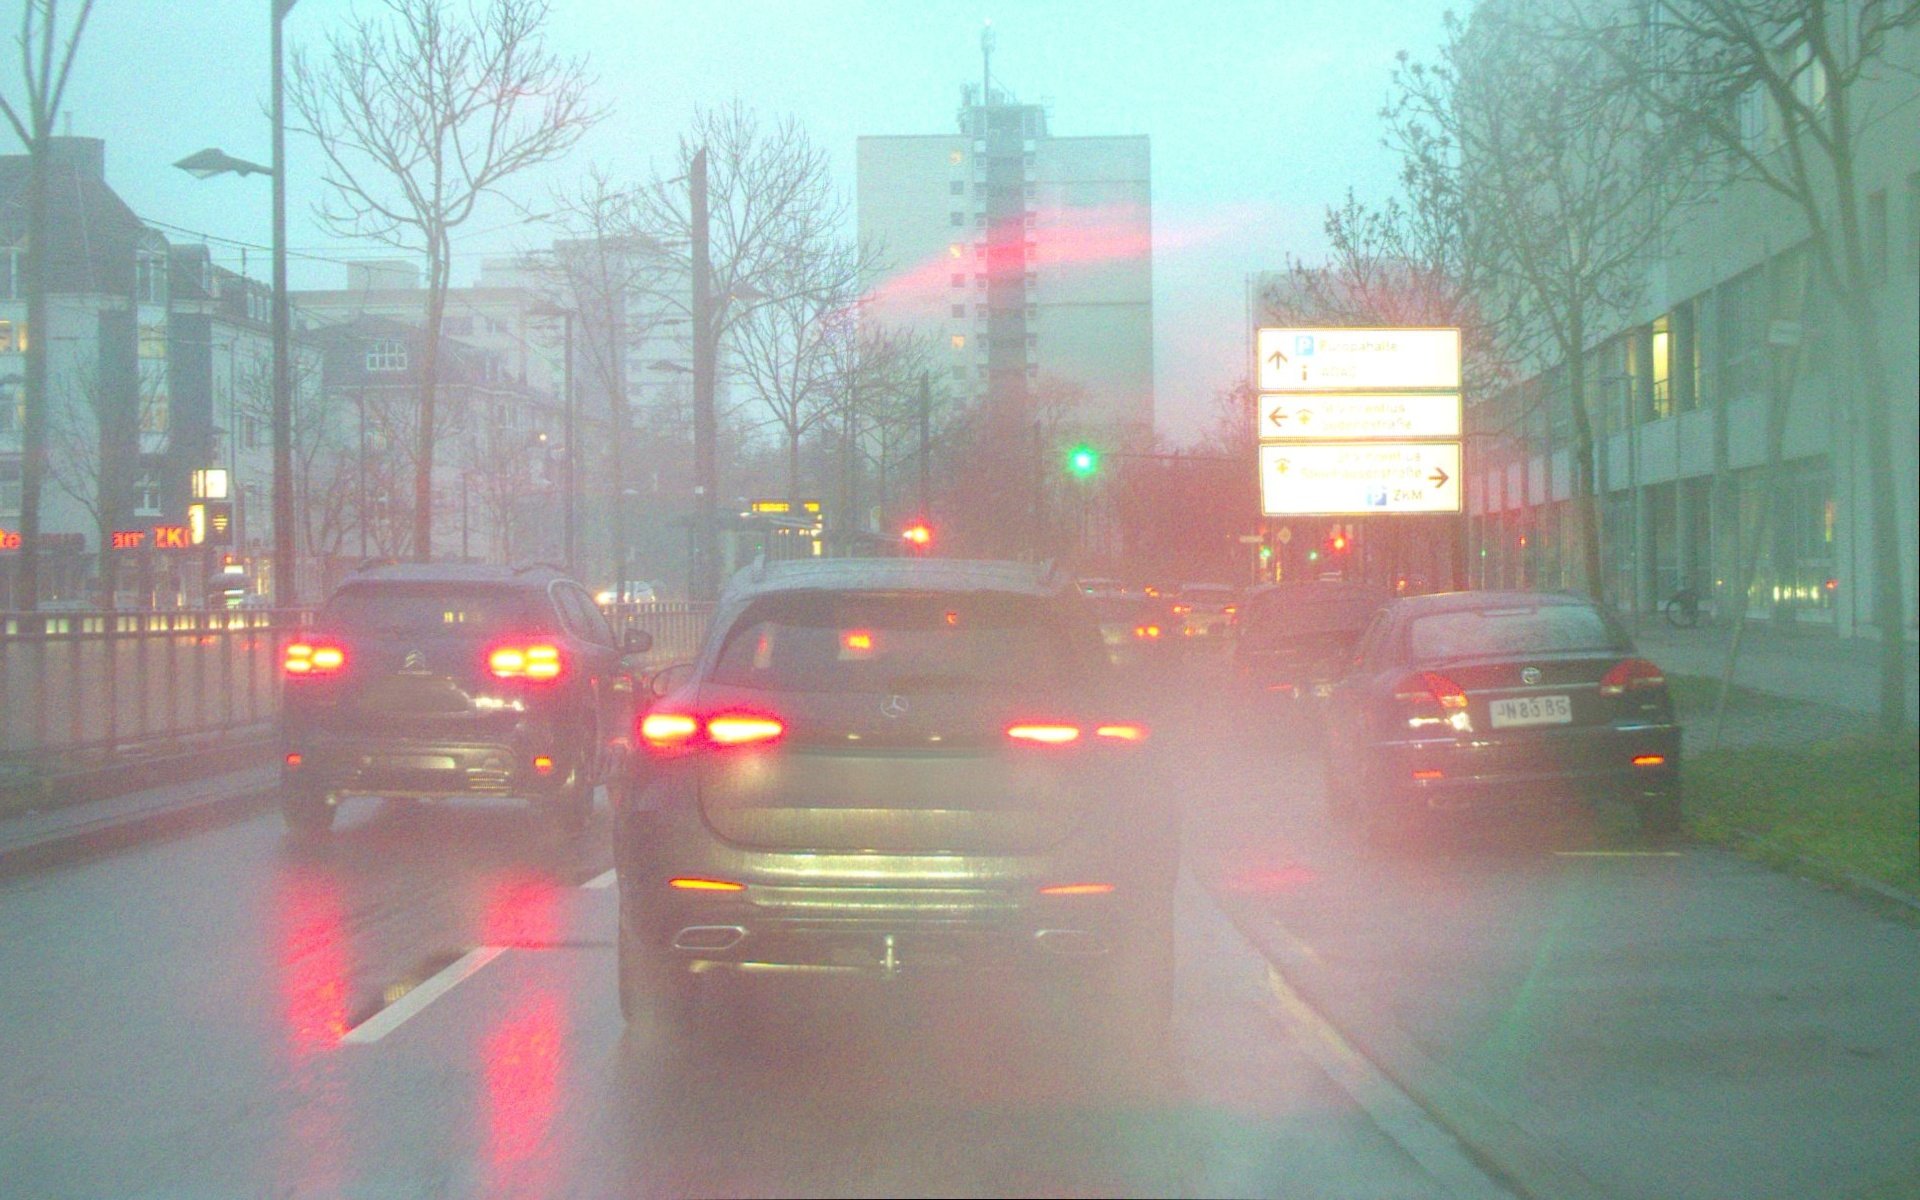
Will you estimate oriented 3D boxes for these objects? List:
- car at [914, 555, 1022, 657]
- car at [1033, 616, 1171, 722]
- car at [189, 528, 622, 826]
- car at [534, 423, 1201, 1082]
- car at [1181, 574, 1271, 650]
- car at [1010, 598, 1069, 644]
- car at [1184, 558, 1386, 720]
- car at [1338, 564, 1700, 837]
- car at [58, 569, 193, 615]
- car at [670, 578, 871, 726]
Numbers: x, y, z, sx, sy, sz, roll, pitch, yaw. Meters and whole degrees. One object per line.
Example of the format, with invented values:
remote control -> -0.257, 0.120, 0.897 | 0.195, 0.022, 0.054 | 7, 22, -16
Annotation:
car -> 0.170, 0.115, 61.213 | 1.794, 1.744, 3.624 | 1, -1, 2
car -> 2.062, 0.966, 49.682 | 1.887, 1.349, 4.101 | 1, 1, 3
car -> -3.446, 0.468, 22.200 | 1.993, 1.706, 4.324 | 1, -1, 1
car -> -0.284, 0.479, 12.467 | 1.993, 1.969, 4.068 | 1, -1, 0
car -> 6.086, 0.288, 78.900 | 1.994, 1.685, 3.528 | 1, -1, 4
car -> 2.729, 0.719, 117.107 | 1.771, 1.497, 3.367 | 1, -1, 5
car -> 3.074, 0.314, 32.493 | 1.754, 1.398, 4.249 | 1, 1, 5
car -> 3.216, 0.554, 20.465 | 1.596, 1.435, 4.228 | 1, -1, 2
car -> -26.045, -0.230, 107.409 | 3.798, 1.362, 1.698 | 1, -1, -2
car -> -2.192, 0.601, 40.816 | 1.994, 1.637, 4.022 | 1, -1, 2
